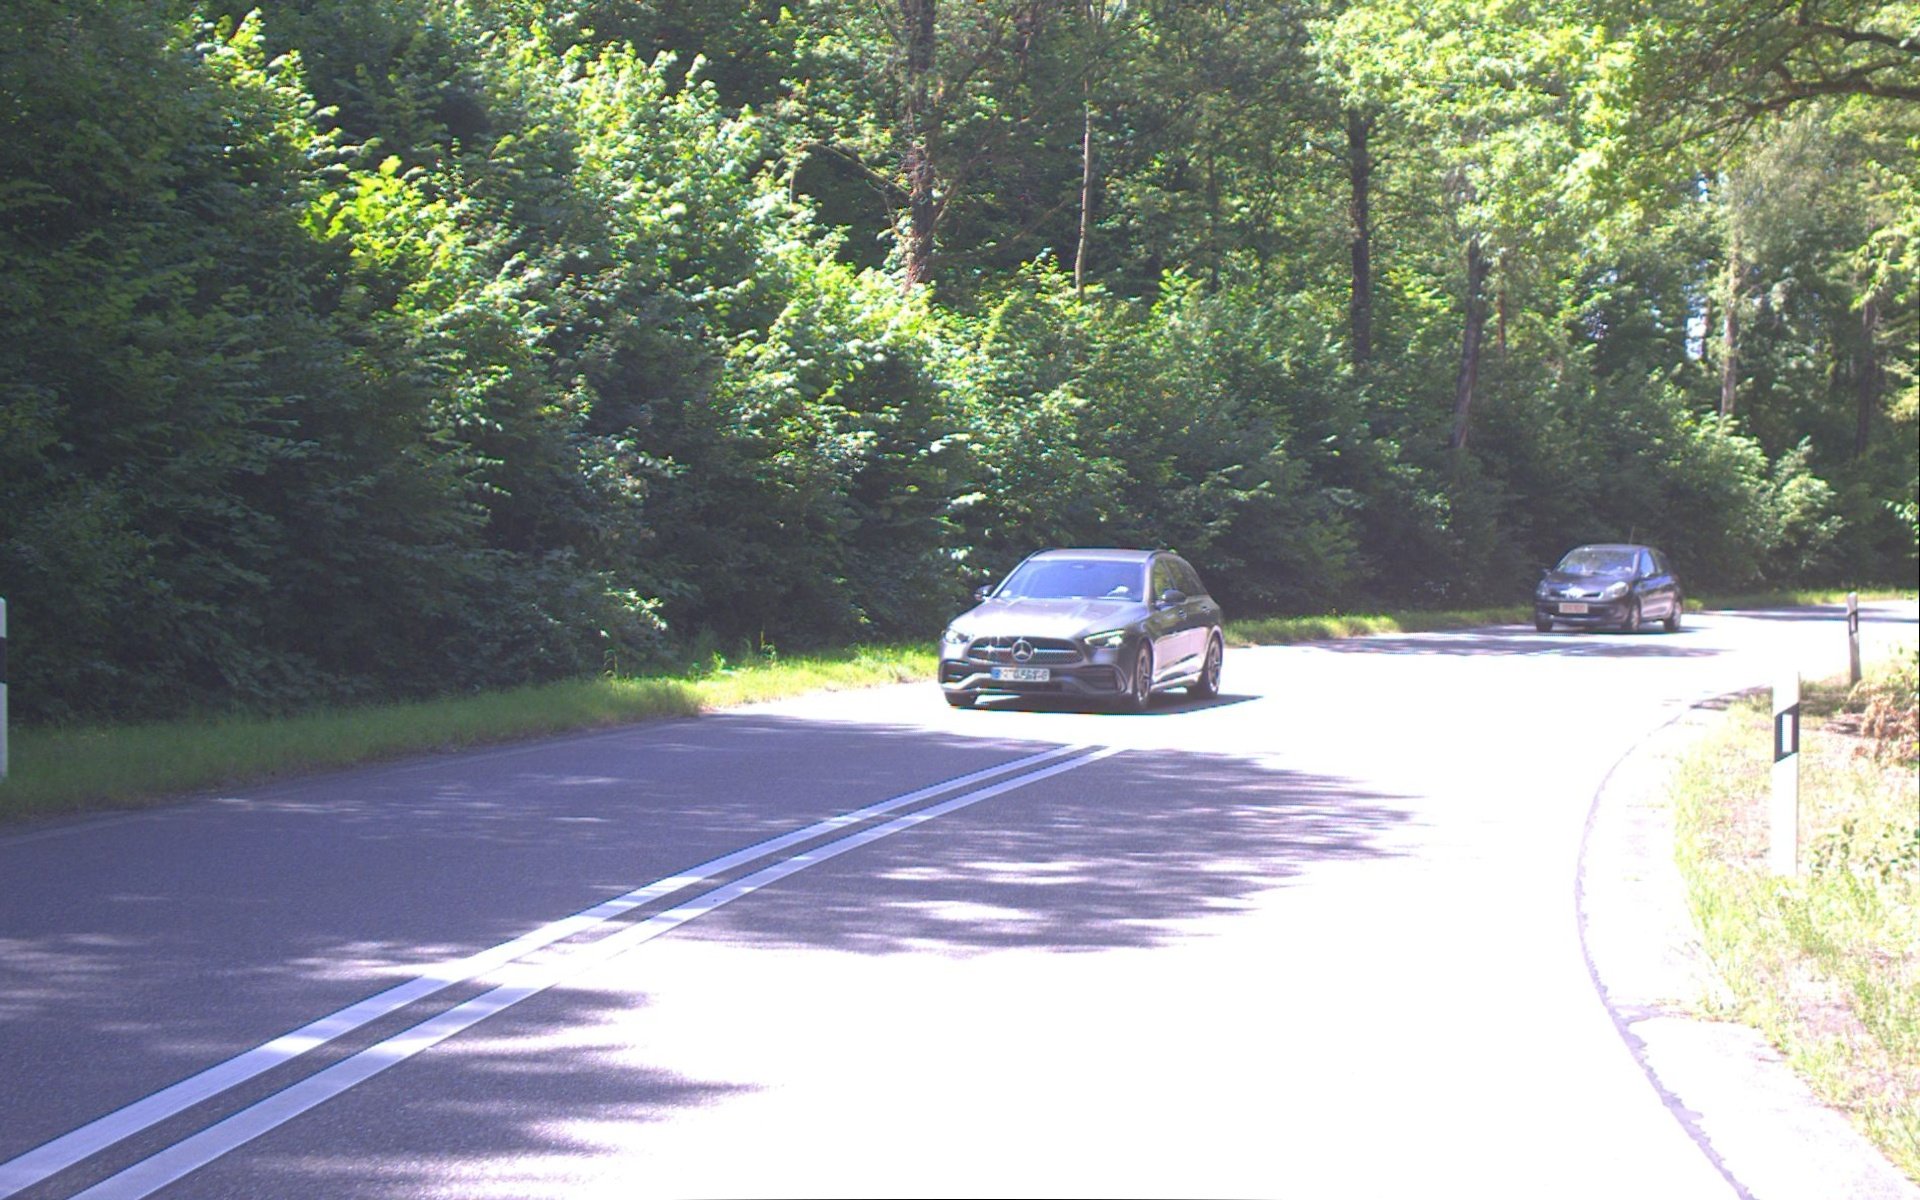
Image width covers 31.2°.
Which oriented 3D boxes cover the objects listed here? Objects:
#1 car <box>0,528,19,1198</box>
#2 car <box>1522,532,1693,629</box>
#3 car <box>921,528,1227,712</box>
[{"bbox_3d":[-3.293,0.606,5.434,1.846,1.481,4.764,-1,0,6],"label":"car"},{"bbox_3d":[10.922,-0.331,57.804,1.680,1.568,3.889,-1,0,29],"label":"car"},{"bbox_3d":[1.142,0.149,31.960,1.758,1.568,4.364,1,1,17],"label":"car"}]
